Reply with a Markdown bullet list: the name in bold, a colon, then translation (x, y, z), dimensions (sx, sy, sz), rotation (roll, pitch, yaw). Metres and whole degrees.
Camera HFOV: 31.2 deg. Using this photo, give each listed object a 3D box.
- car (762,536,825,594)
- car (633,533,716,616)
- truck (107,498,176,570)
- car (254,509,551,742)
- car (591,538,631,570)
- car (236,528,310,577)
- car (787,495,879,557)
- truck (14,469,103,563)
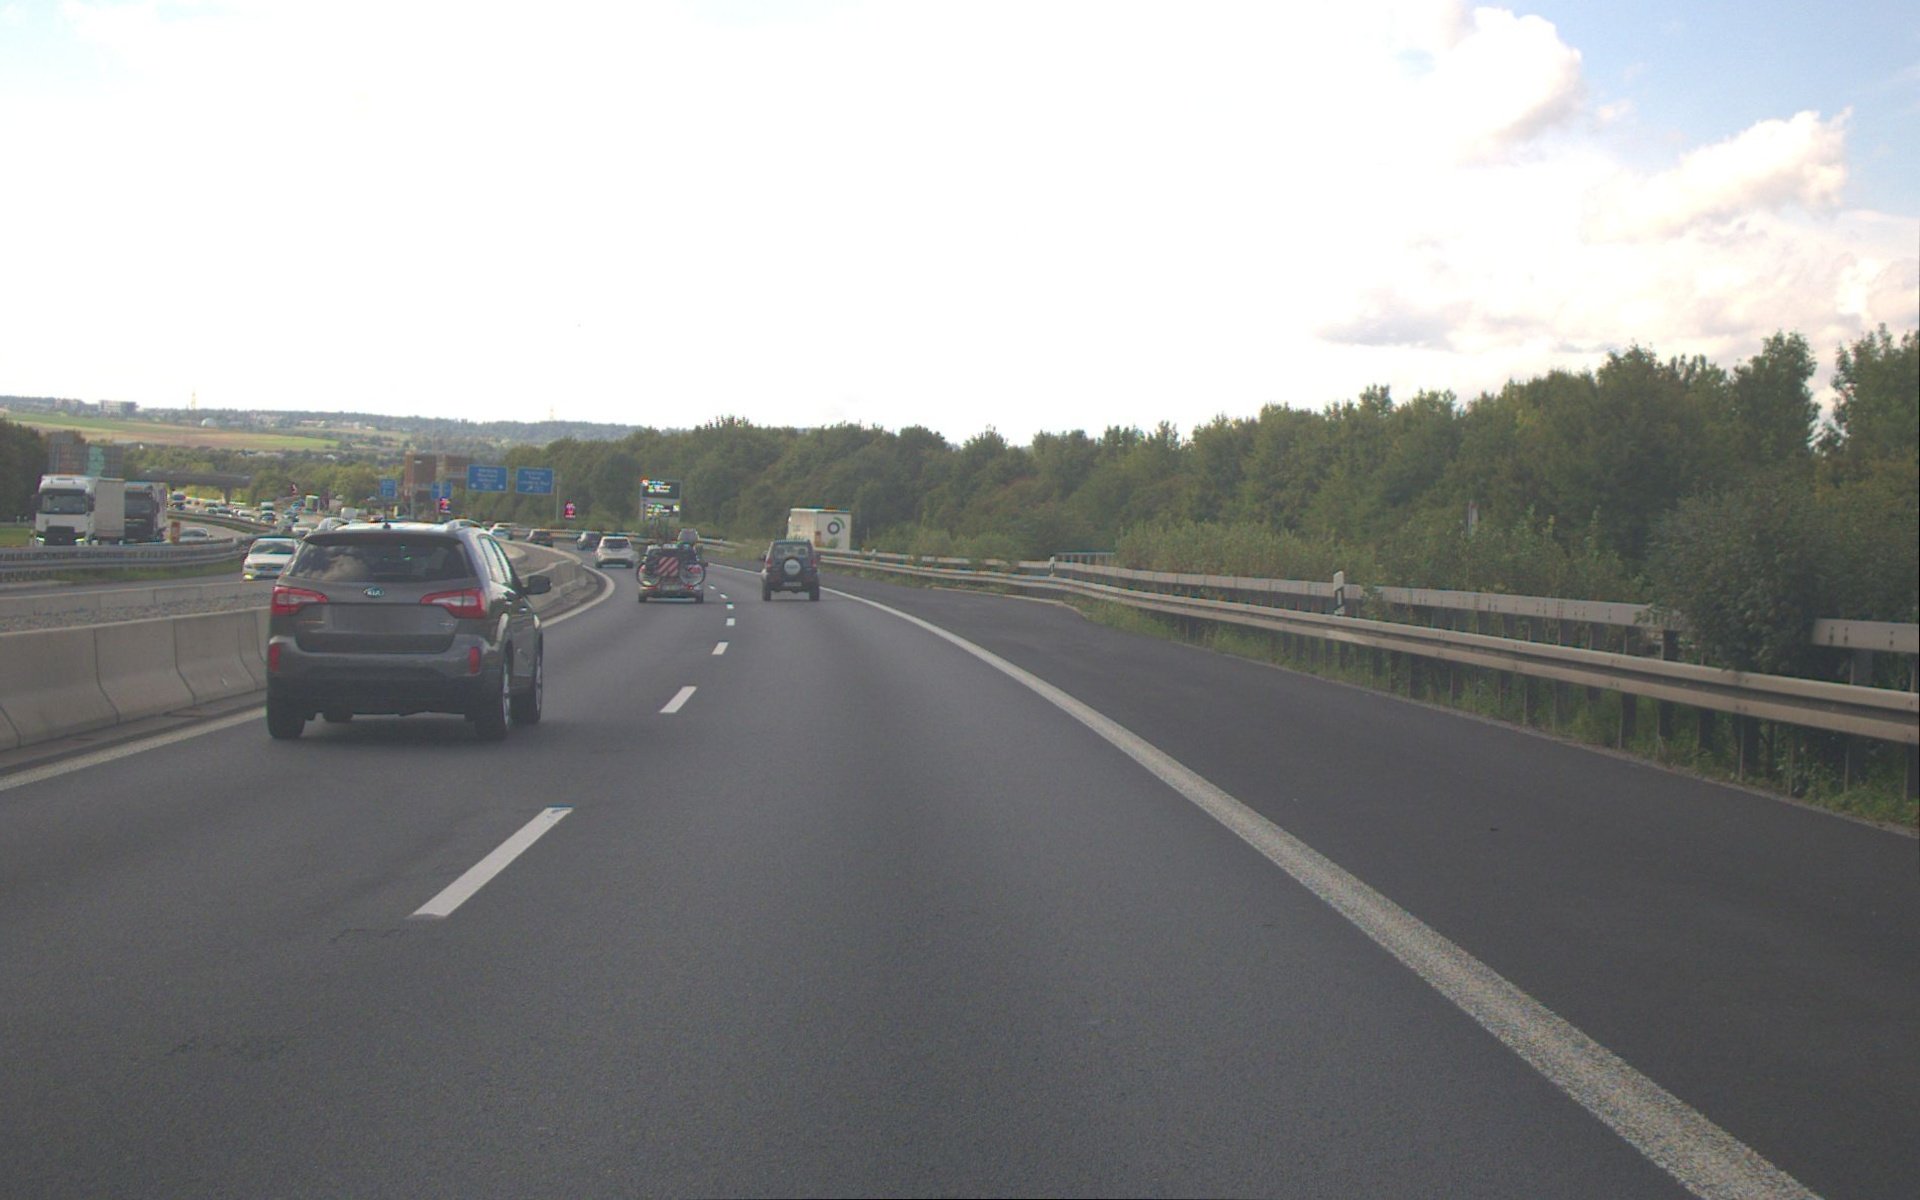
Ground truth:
- **car**: translation (-4.767, -1.013, 98.155), dimensions (1.587, 1.591, 4.096), rotation (1, 1, -5)
- **car**: translation (-7.738, -0.718, 93.497), dimensions (2.030, 2.144, 4.001), rotation (1, 1, -2)
- **truck**: translation (-48.032, -3.834, 202.049), dimensions (2.901, 3.955, 10.467), rotation (1, 0, -8)
- **car**: translation (-4.513, 0.168, 28.547), dimensions (1.817, 1.730, 5.187), rotation (1, 1, -2)
- **car**: translation (-18.906, -2.484, 186.143), dimensions (1.993, 1.678, 4.001), rotation (1, 0, -8)
- **car**: translation (-22.626, -1.552, 113.326), dimensions (1.712, 1.522, 4.767), rotation (1, 0, -3)
- **car**: translation (-9.592, -5.506, 258.315), dimensions (4.727, 4.251, 11.407), rotation (1, 0, -13)
- **truck**: translation (-43.502, -4.013, 166.027), dimensions (3.320, 4.278, 6.750), rotation (1, 0, -8)
